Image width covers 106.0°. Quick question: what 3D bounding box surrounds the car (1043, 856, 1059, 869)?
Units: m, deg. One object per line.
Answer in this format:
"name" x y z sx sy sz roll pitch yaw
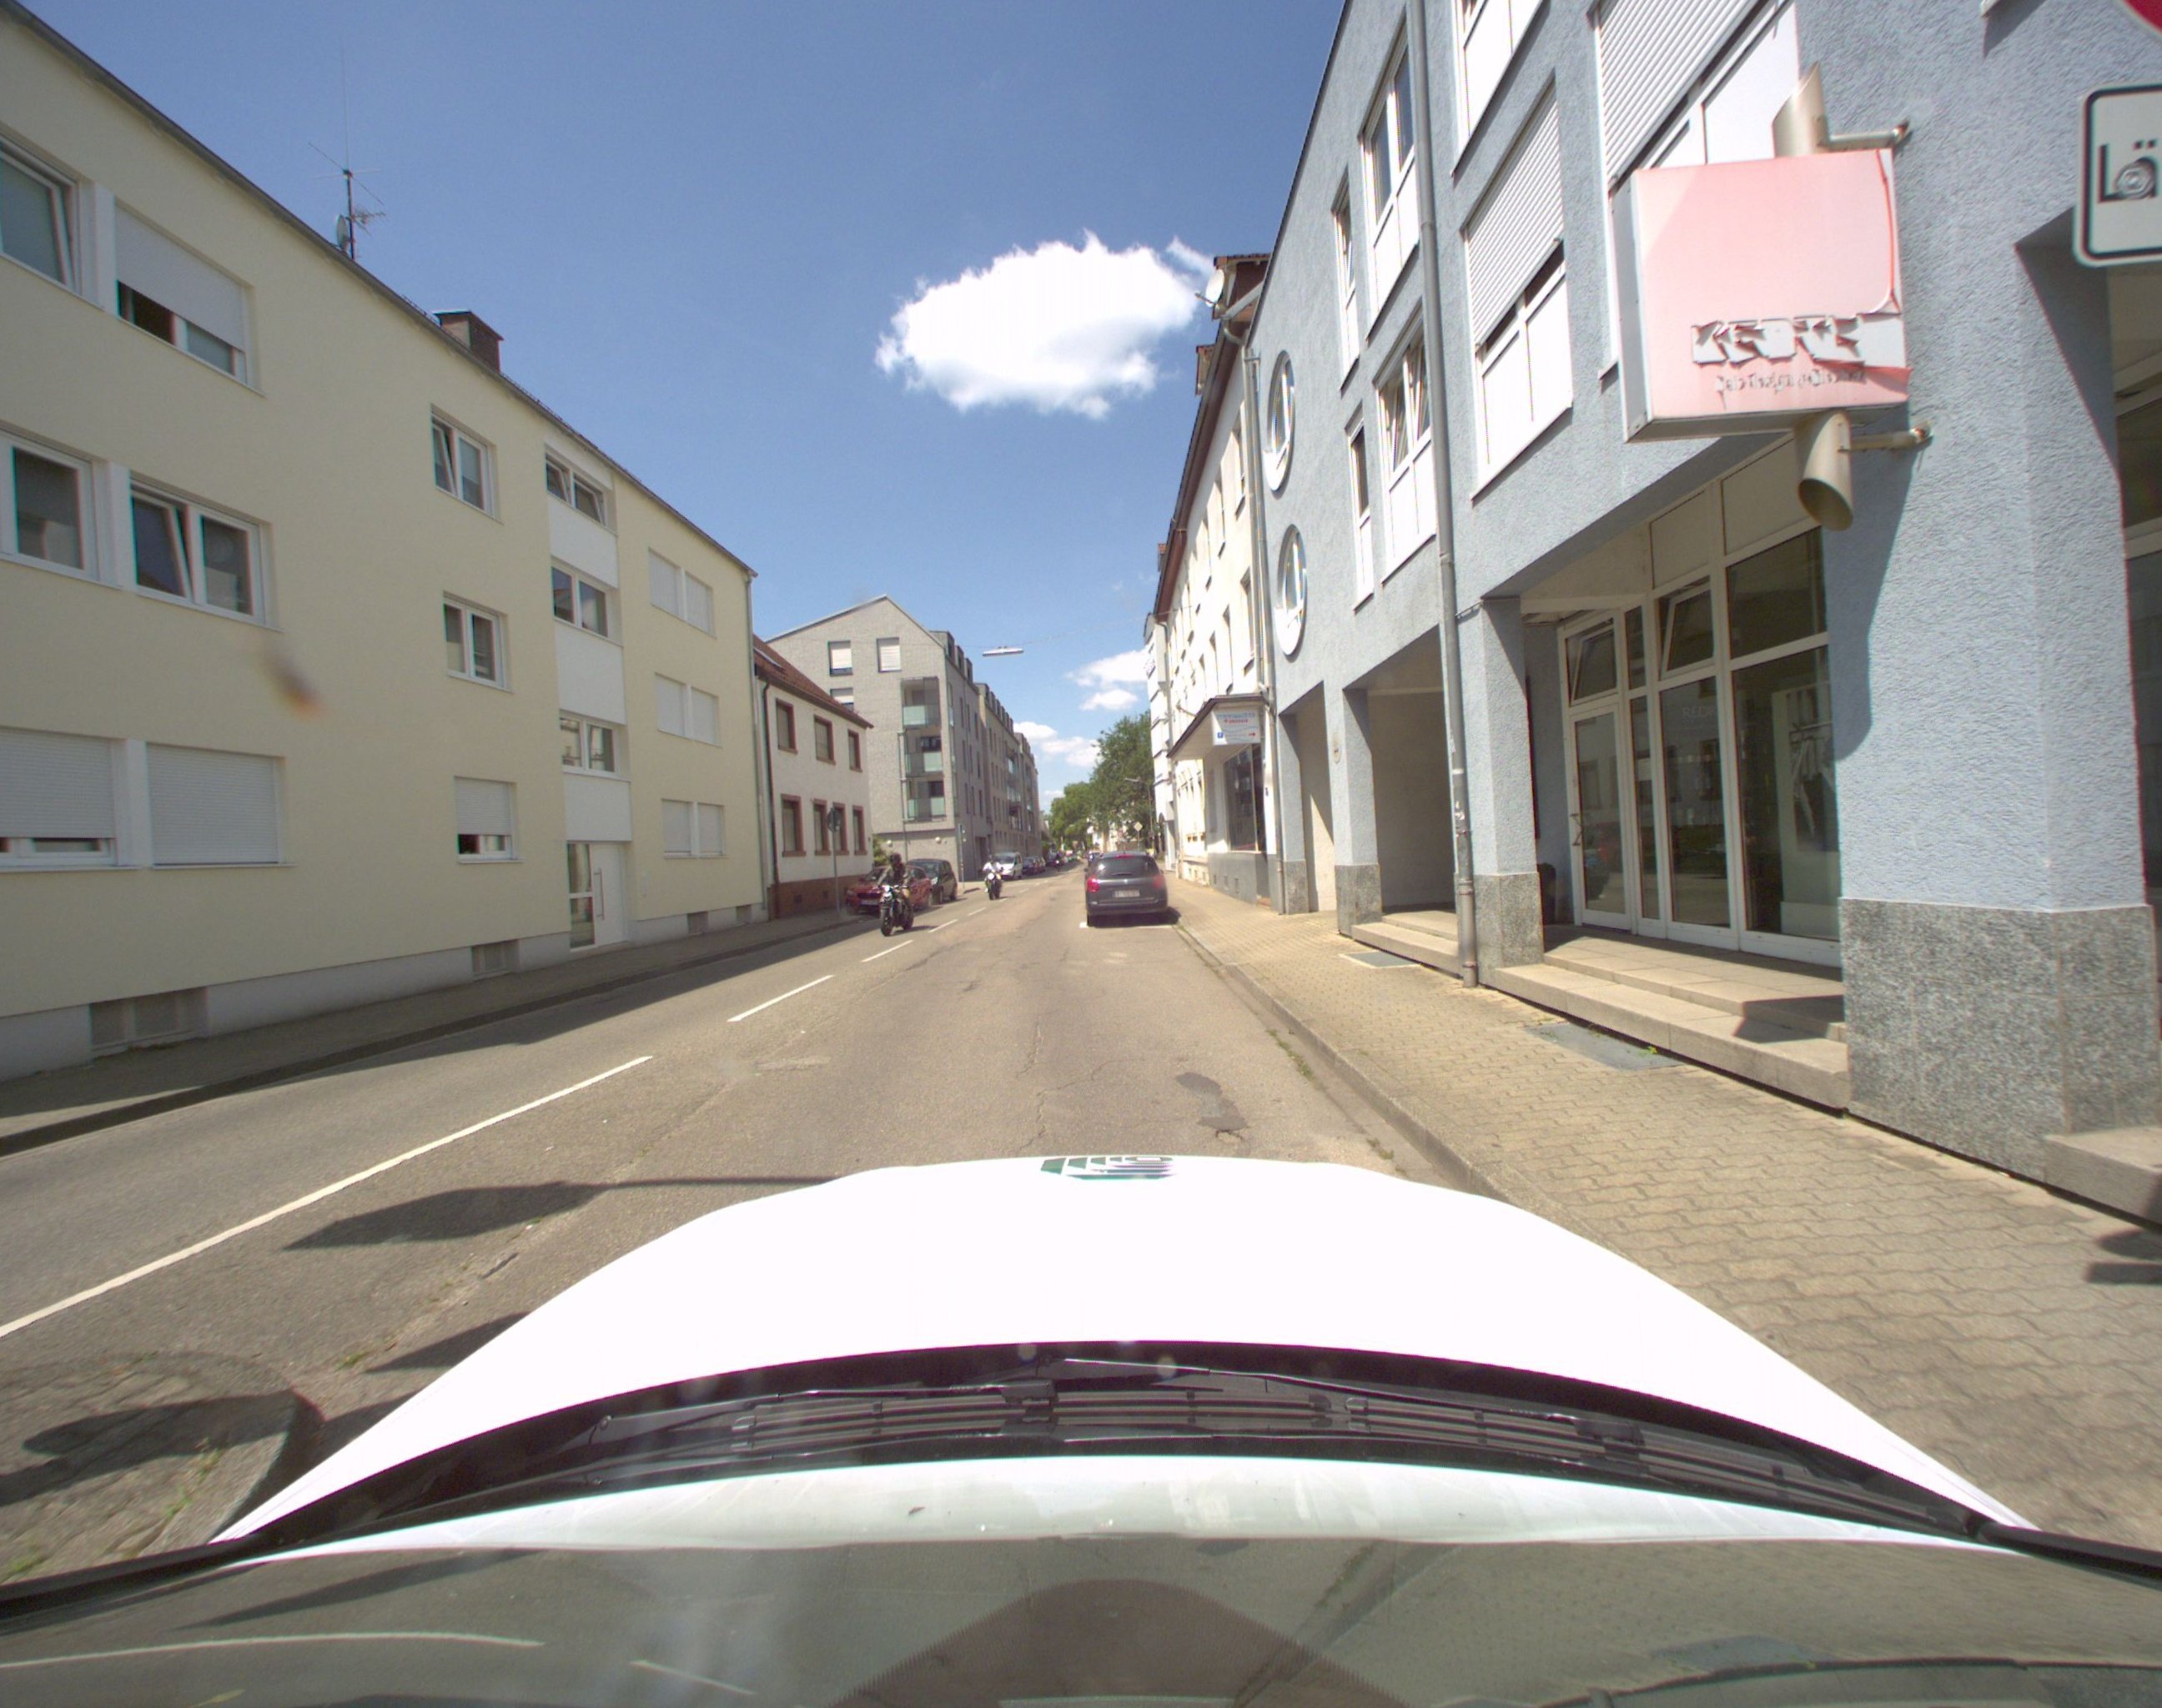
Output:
"car" -3.679 1.030 100.910 1.726 1.442 4.000 -3 0 1

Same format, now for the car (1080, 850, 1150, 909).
"car" 0.933 0.663 23.305 1.723 1.420 4.546 -3 0 1

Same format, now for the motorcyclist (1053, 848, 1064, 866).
"motorcyclist" -1.992 0.250 72.261 0.819 1.509 1.058 -3 0 3

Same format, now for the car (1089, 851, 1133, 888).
"car" 1.208 0.618 33.738 1.613 1.385 3.538 -3 0 0

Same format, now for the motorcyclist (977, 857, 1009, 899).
"motorcyclist" -3.218 0.859 29.849 0.913 1.480 1.203 -3 0 1

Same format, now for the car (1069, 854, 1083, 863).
"car" -0.770 0.700 131.276 1.985 1.381 4.396 -1 0 3

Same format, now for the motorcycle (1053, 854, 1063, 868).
"motorcycle" -2.025 0.618 72.308 0.685 1.122 2.030 -3 0 3

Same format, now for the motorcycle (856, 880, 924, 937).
"motorcycle" -4.124 1.164 17.807 0.709 1.028 2.243 -4 0 5

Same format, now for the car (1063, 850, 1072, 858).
"car" -3.813 0.005 227.590 2.152 2.013 3.995 -3 0 -4

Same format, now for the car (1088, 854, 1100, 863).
"car" 2.627 0.885 166.208 1.990 1.618 3.994 -3 0 -4

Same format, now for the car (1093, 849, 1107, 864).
"car" 2.677 0.389 116.384 1.832 2.013 4.002 -3 0 2

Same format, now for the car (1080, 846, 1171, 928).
"car" 0.869 0.656 17.912 1.704 1.508 3.999 -3 0 0

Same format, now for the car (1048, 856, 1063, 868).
"car" -3.332 0.986 106.196 1.726 1.442 4.000 -3 0 1

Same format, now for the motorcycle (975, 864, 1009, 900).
"motorcycle" -3.232 1.011 29.911 0.893 1.176 2.209 -3 0 2

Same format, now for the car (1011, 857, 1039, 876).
"car" -4.499 0.984 65.556 1.716 1.456 4.008 -2 0 3

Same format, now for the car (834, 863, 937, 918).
"car" -5.961 1.070 25.385 1.826 1.416 4.294 -3 0 4

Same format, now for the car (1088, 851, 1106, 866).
"car" 1.604 0.449 82.888 1.709 1.402 4.002 -3 0 2

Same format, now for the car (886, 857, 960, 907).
"car" -5.791 0.979 30.373 1.787 1.646 3.947 -2 0 2

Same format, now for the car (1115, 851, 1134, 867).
"car" 4.442 0.469 83.474 1.687 1.420 4.000 -6 0 0

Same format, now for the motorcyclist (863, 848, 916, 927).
"motorcyclist" -4.163 0.702 17.780 0.709 1.634 1.070 -4 0 5

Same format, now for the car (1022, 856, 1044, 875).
"car" -4.184 0.959 70.991 1.585 1.554 3.571 -3 0 1

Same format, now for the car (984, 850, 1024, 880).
"car" -4.971 0.686 53.230 1.748 1.892 4.343 -1 0 5
